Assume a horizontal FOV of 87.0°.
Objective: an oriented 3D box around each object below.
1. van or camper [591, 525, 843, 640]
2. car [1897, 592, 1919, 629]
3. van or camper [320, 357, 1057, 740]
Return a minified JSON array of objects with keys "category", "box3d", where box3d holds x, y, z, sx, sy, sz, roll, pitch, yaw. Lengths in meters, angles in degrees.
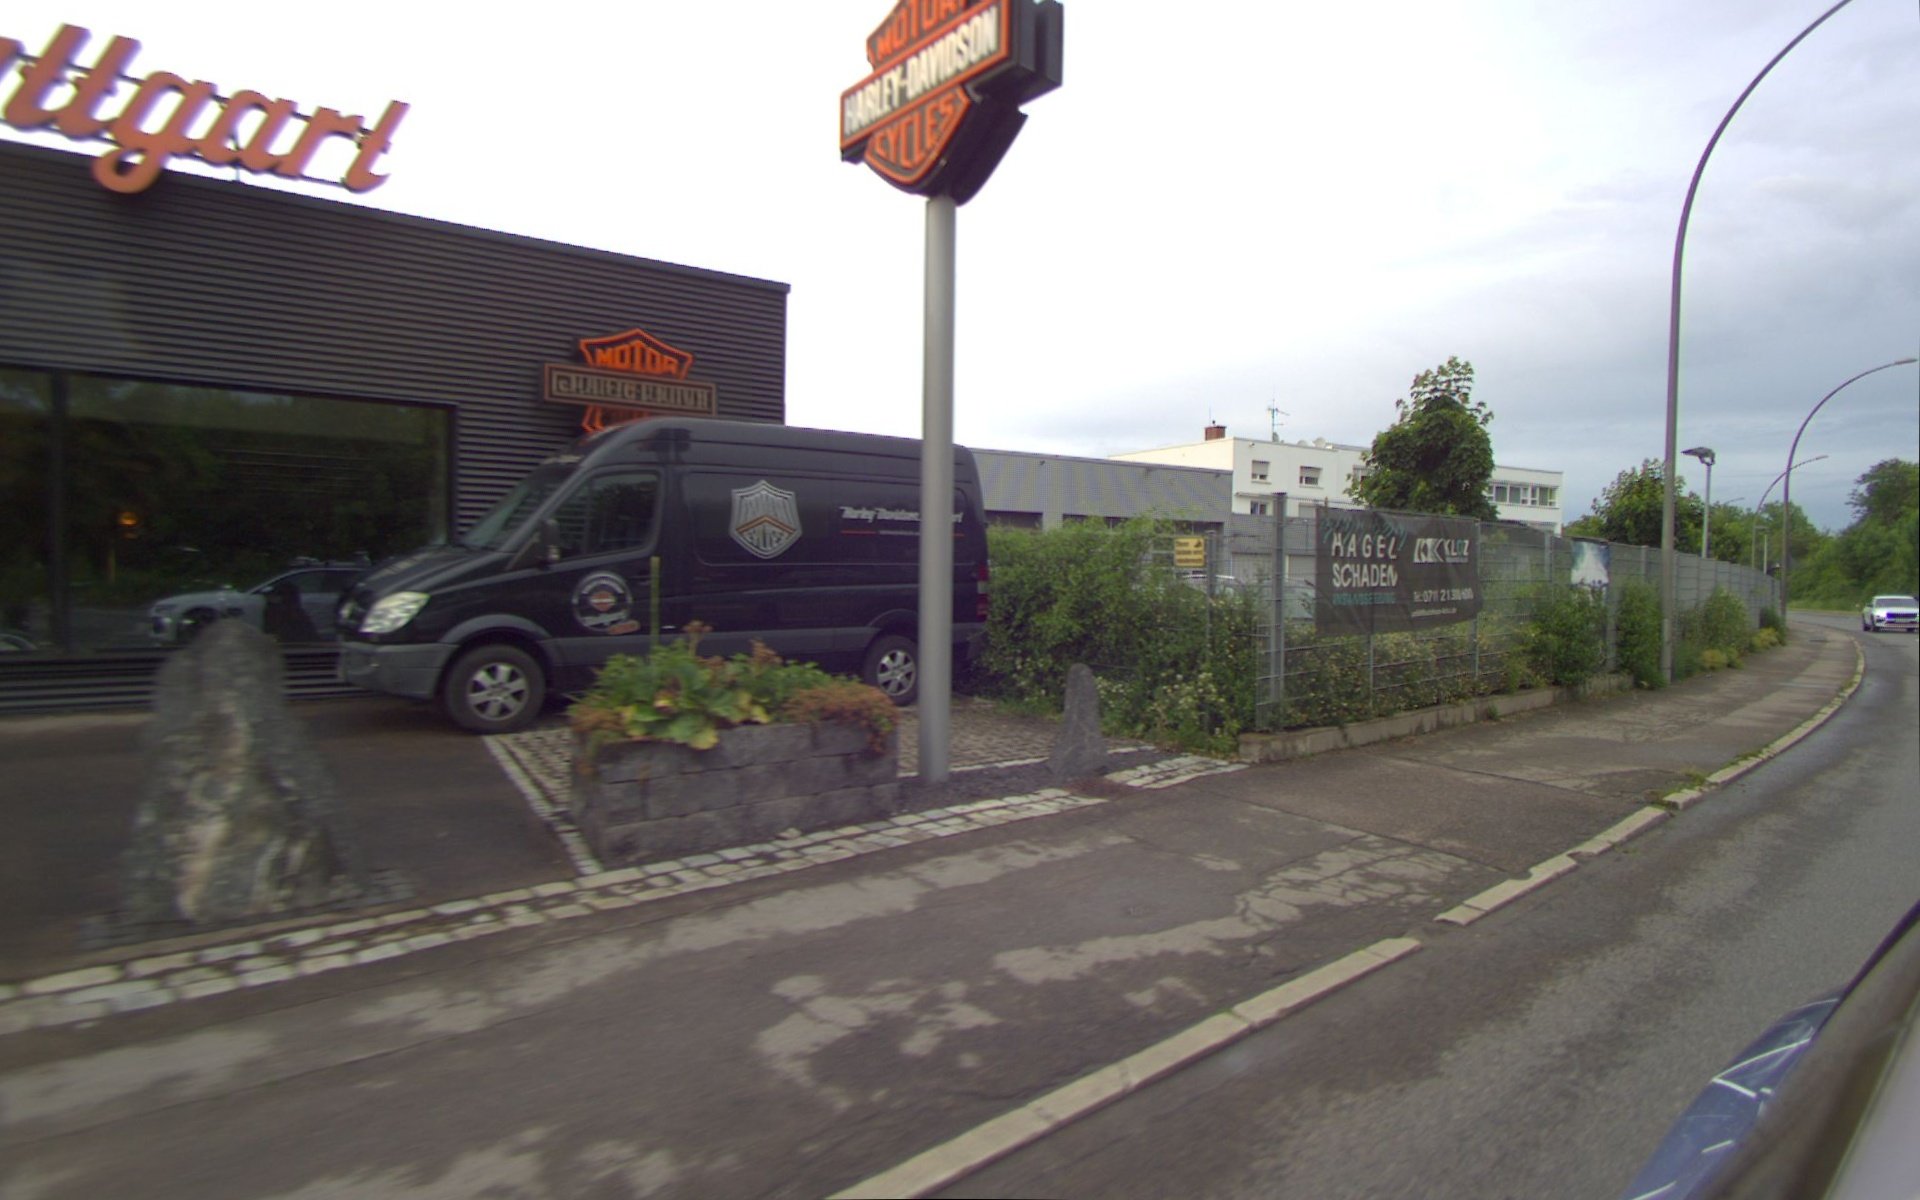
[{"category":"van or camper","box3d":[-5.999,-0.403,25.241,5.627,2.589,2.342,1,1,-32]},{"category":"car","box3d":[43.871,0.469,45.616,1.837,1.594,3.779,2,1,34]},{"category":"van or camper","box3d":[-2.227,-0.373,9.651,6.464,2.625,2.048,0,1,-35]}]
